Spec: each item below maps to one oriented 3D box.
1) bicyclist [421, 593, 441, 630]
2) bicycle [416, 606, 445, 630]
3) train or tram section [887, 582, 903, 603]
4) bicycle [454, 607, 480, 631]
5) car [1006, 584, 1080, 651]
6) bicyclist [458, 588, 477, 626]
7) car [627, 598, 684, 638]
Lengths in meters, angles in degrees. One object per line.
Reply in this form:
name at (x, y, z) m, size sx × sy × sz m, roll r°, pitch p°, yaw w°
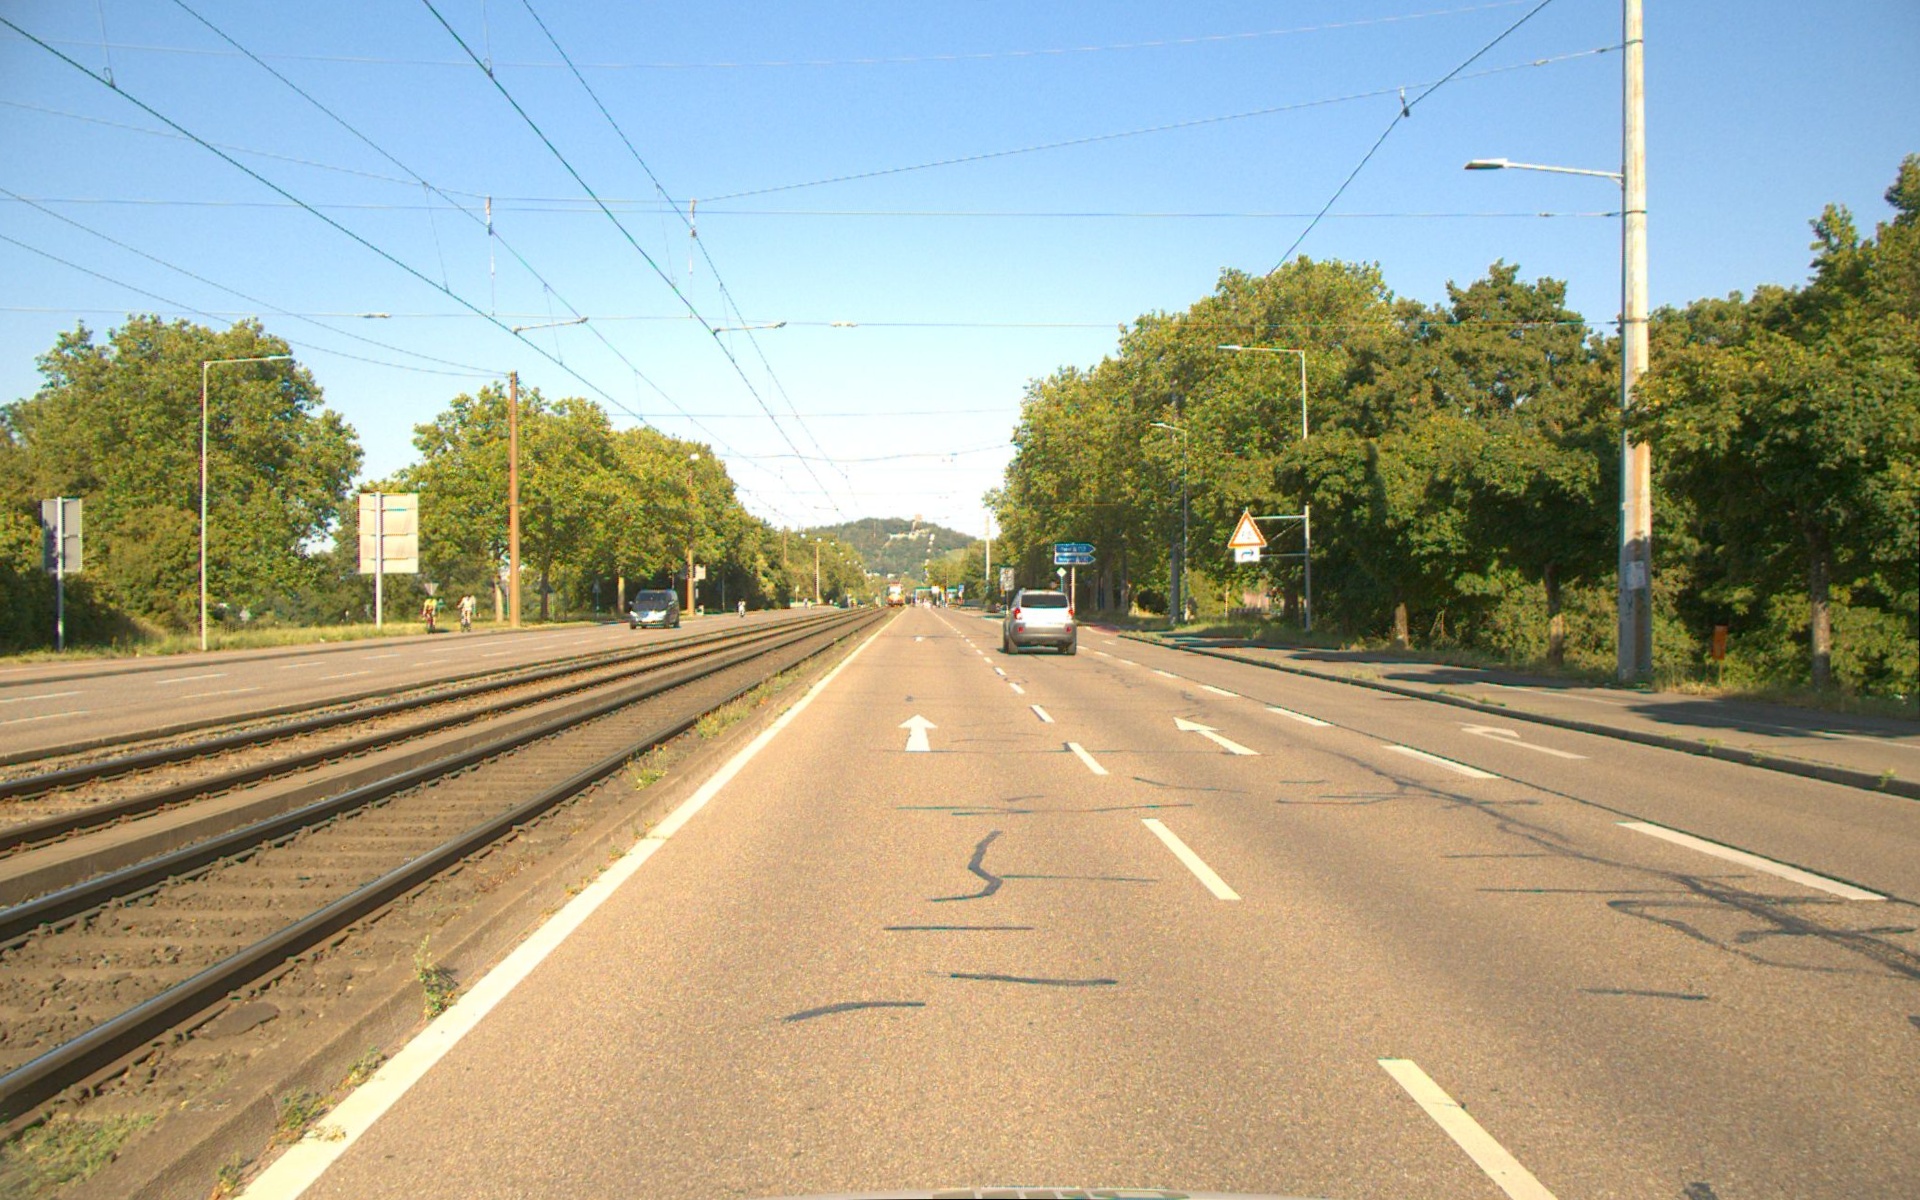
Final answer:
bicyclist at (-22.673, 0.504, 70.861) m, size 0.578 × 1.555 × 0.906 m, roll 0°, pitch -1°, yaw -2°
bicycle at (-22.676, 0.771, 70.867) m, size 0.578 × 1.040 × 2.184 m, roll 0°, pitch -1°, yaw -2°
train or tram section at (-10.363, -1.168, 263.069) m, size 2.264 × 3.273 × 9.472 m, roll 2°, pitch -1°, yaw -1°
bicycle at (-21.733, 0.835, 72.932) m, size 0.578 × 1.040 × 2.184 m, roll 0°, pitch -1°, yaw -2°
car at (2.217, 0.480, 45.133) m, size 1.849 × 1.723 × 4.256 m, roll 1°, pitch -1°, yaw 1°
bicyclist at (-21.741, 0.317, 73.030) m, size 0.578 × 1.639 × 0.966 m, roll 0°, pitch -1°, yaw -2°
car at (-15.067, 0.889, 82.126) m, size 1.953 × 1.956 × 4.860 m, roll 0°, pitch -1°, yaw 0°
